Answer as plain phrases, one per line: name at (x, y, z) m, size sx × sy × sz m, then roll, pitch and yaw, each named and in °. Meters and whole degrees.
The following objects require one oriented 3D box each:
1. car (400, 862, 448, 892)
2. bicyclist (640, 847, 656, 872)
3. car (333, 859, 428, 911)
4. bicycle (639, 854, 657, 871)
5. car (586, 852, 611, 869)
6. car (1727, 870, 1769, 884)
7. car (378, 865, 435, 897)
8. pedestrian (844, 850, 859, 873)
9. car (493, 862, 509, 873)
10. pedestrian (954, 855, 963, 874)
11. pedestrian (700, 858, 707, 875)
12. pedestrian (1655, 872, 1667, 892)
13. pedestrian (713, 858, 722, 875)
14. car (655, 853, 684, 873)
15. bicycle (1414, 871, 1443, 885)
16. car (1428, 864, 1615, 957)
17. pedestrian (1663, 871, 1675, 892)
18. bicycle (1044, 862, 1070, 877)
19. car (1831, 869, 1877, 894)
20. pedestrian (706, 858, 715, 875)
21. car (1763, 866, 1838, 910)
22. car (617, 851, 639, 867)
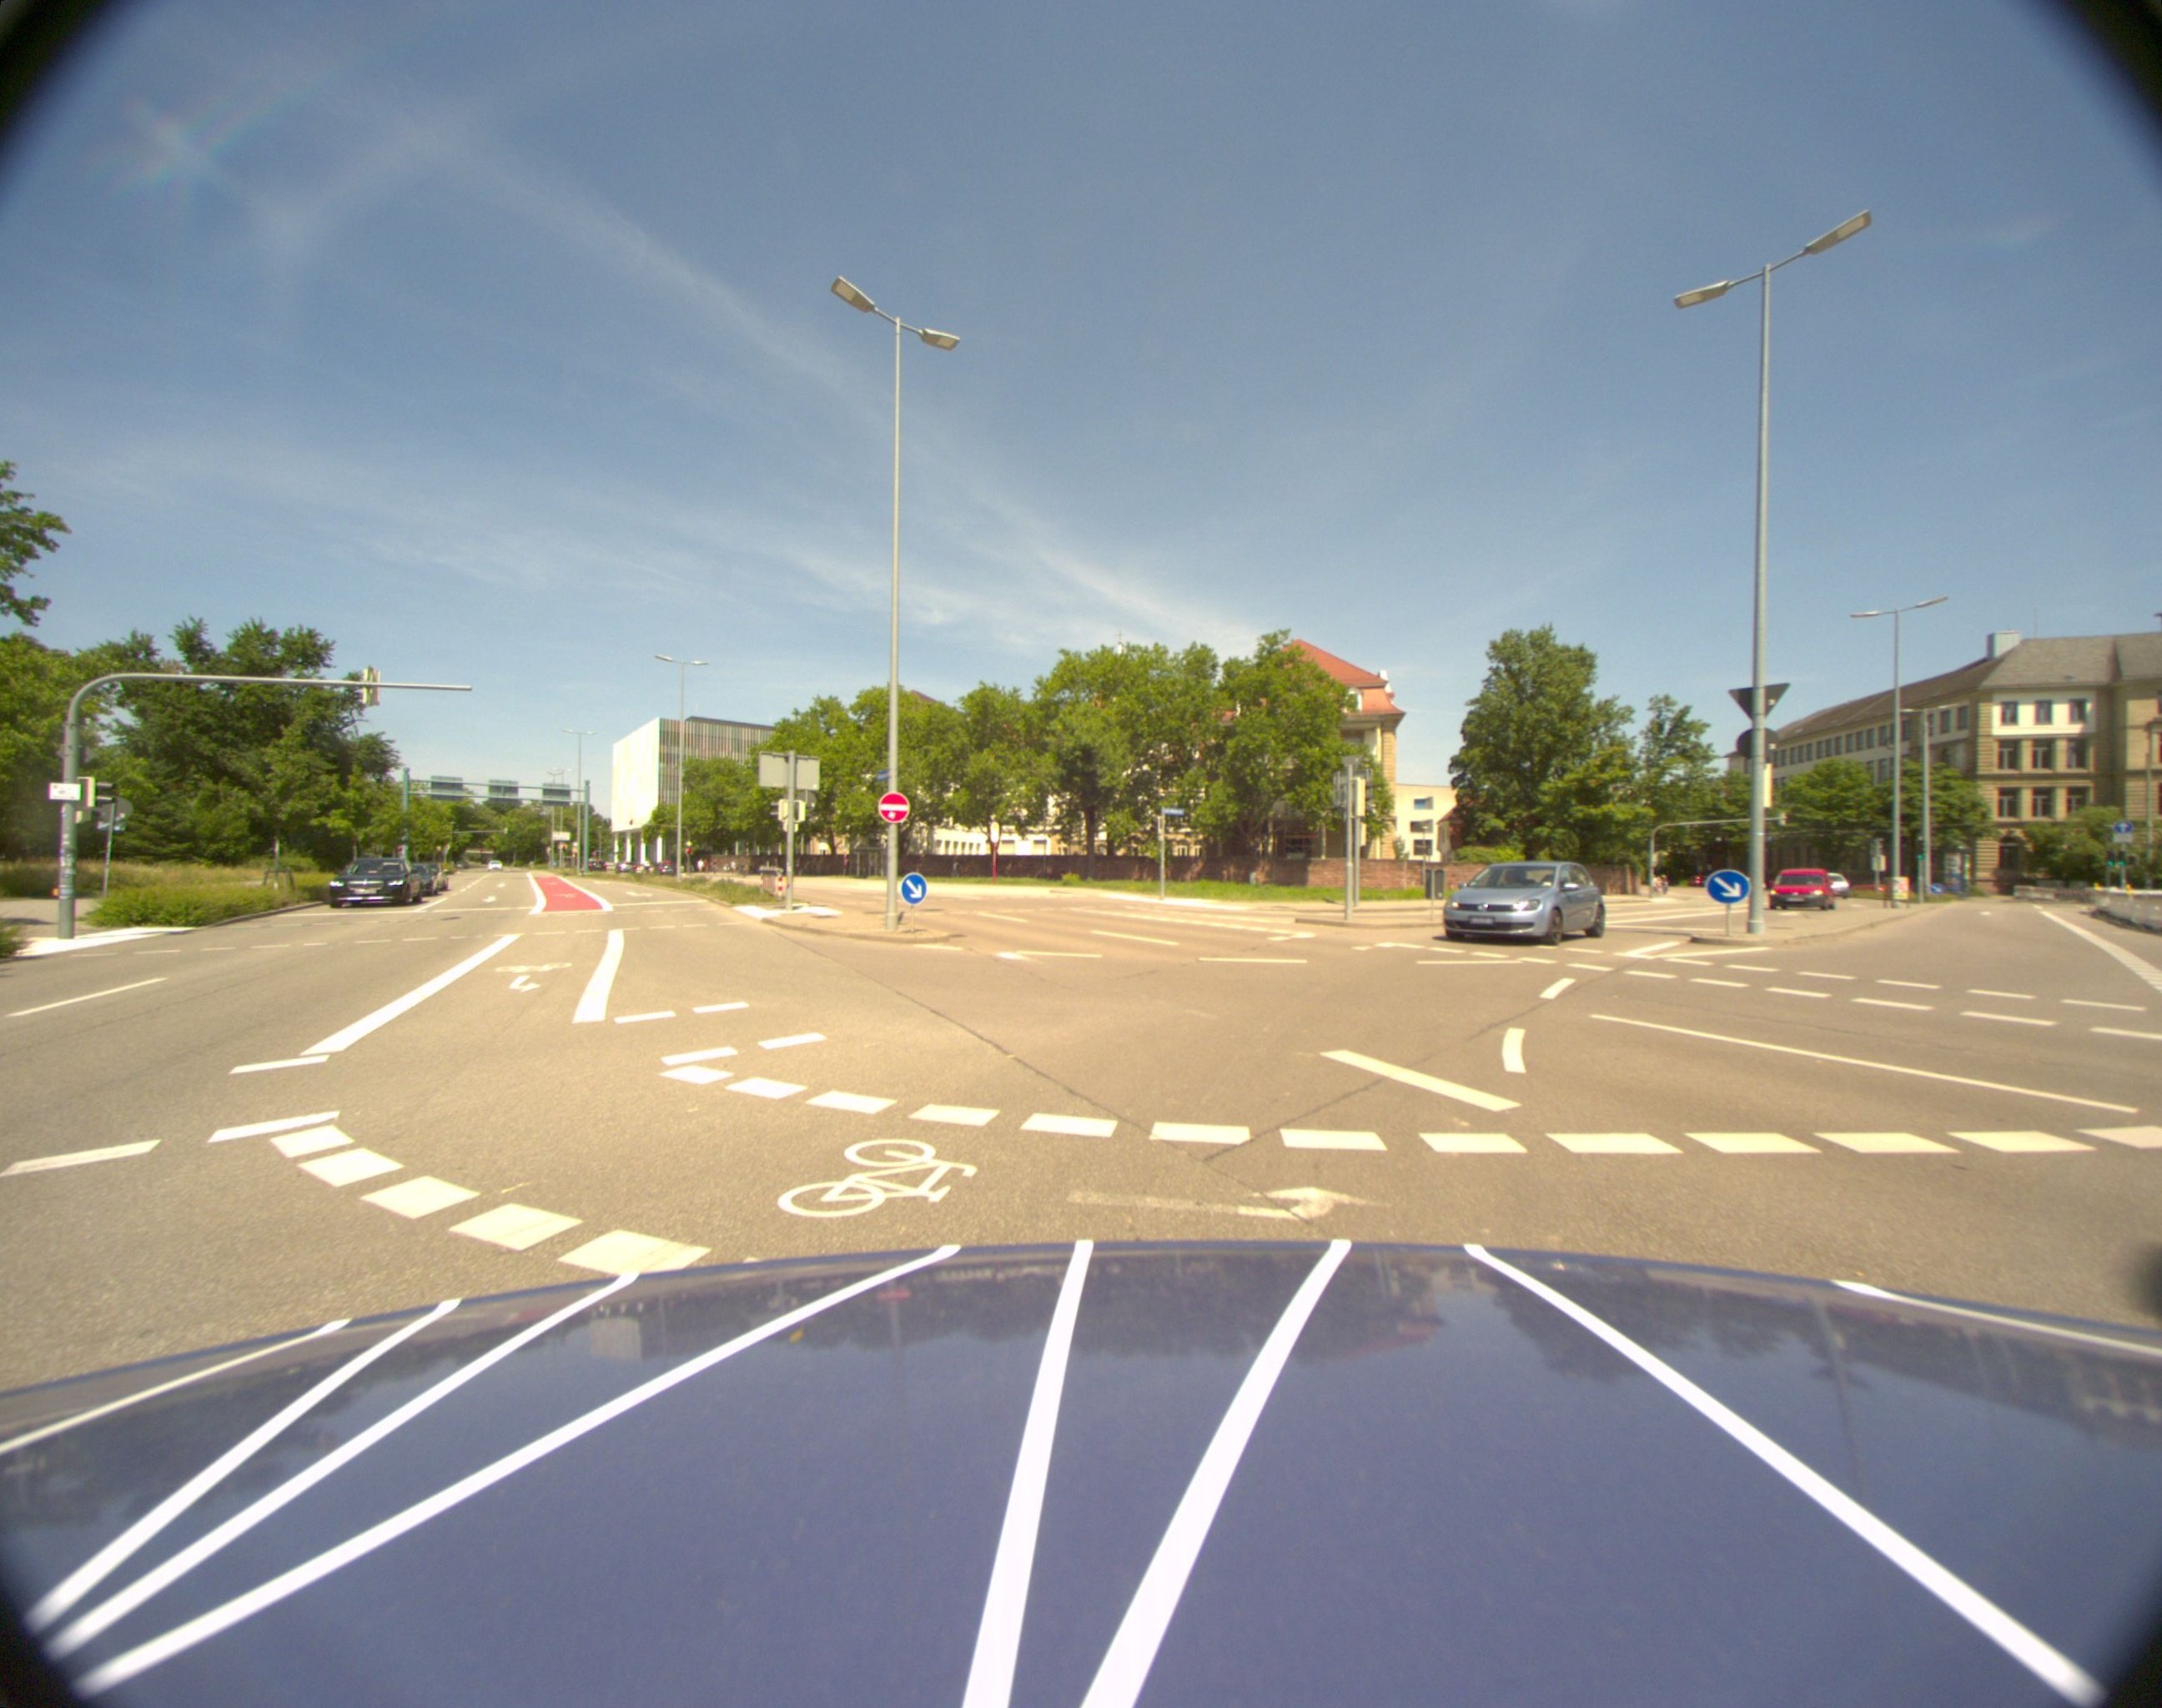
car at (-33.502, 1.208, 38.796) m, size 1.764 × 1.430 × 3.990 m, roll 1°, pitch -3°, yaw -40°
bicyclist at (-33.289, 0.443, 58.424) m, size 1.135 × 1.875 × 0.710 m, roll -2°, pitch -2°, yaw 42°
car at (-24.065, 0.991, 26.265) m, size 1.712 × 1.577 × 4.544 m, roll 1°, pitch 0°, yaw -33°
bicycle at (-33.280, 0.680, 58.383) m, size 2.186 × 1.229 × 0.522 m, roll -2°, pitch -2°, yaw 43°
car at (-52.717, 0.741, 83.023) m, size 1.782 × 1.658 × 3.990 m, roll 1°, pitch -3°, yaw -40°
car at (74.632, 2.548, 85.114) m, size 1.817 × 1.420 × 4.433 m, roll 2°, pitch 0°, yaw 17°
car at (-29.505, 1.199, 33.326) m, size 1.764 × 1.302 × 3.990 m, roll 1°, pitch -3°, yaw -40°
pedestrian at (-22.622, 0.754, 74.871) m, size 1.072 × 2.276 × 0.851 m, roll -2°, pitch -2°, yaw 34°
car at (-88.460, 2.090, 115.874) m, size 1.740 × 1.676 × 3.906 m, roll 1°, pitch -3°, yaw -39°
pedestrian at (-10.840, 0.946, 67.409) m, size 0.525 × 1.710 × 0.590 m, roll -1°, pitch -2°, yaw 26°
pedestrian at (-44.474, 1.507, 89.508) m, size 0.551 × 2.001 × 0.535 m, roll 1°, pitch -2°, yaw -38°
pedestrian at (47.189, 2.249, 61.811) m, size 0.603 × 1.601 × 0.559 m, roll 3°, pitch 0°, yaw 19°
pedestrian at (-43.382, 1.535, 90.592) m, size 0.791 × 2.001 × 0.838 m, roll 1°, pitch -2°, yaw -39°
car at (-43.218, 0.999, 79.713) m, size 2.004 × 2.001 × 4.203 m, roll 1°, pitch -3°, yaw -38°
bicycle at (24.945, 1.733, 54.548) m, size 1.773 × 0.922 × 0.680 m, roll -1°, pitch -2°, yaw 5°
car at (8.098, 0.906, 13.818) m, size 4.003 × 1.406 × 1.828 m, roll 1°, pitch 0°, yaw -43°
pedestrian at (50.270, 2.366, 64.996) m, size 0.603 × 1.702 × 0.559 m, roll 3°, pitch 0°, yaw 17°
bicycle at (-2.044, 1.318, 63.432) m, size 2.164 × 1.175 × 0.458 m, roll -1°, pitch -2°, yaw 23°
car at (58.238, 2.025, 57.210) m, size 5.042 × 1.784 × 1.927 m, roll 1°, pitch 0°, yaw -39°
pedestrian at (-43.946, 1.525, 90.161) m, size 0.791 × 2.001 × 0.961 m, roll 1°, pitch -2°, yaw -39°
car at (31.010, 1.434, 32.719) m, size 4.288 × 1.755 × 1.829 m, roll 1°, pitch -3°, yaw -40°
car at (-50.656, 0.578, 84.926) m, size 1.785 × 1.673 × 3.990 m, roll 1°, pitch -2°, yaw -36°
